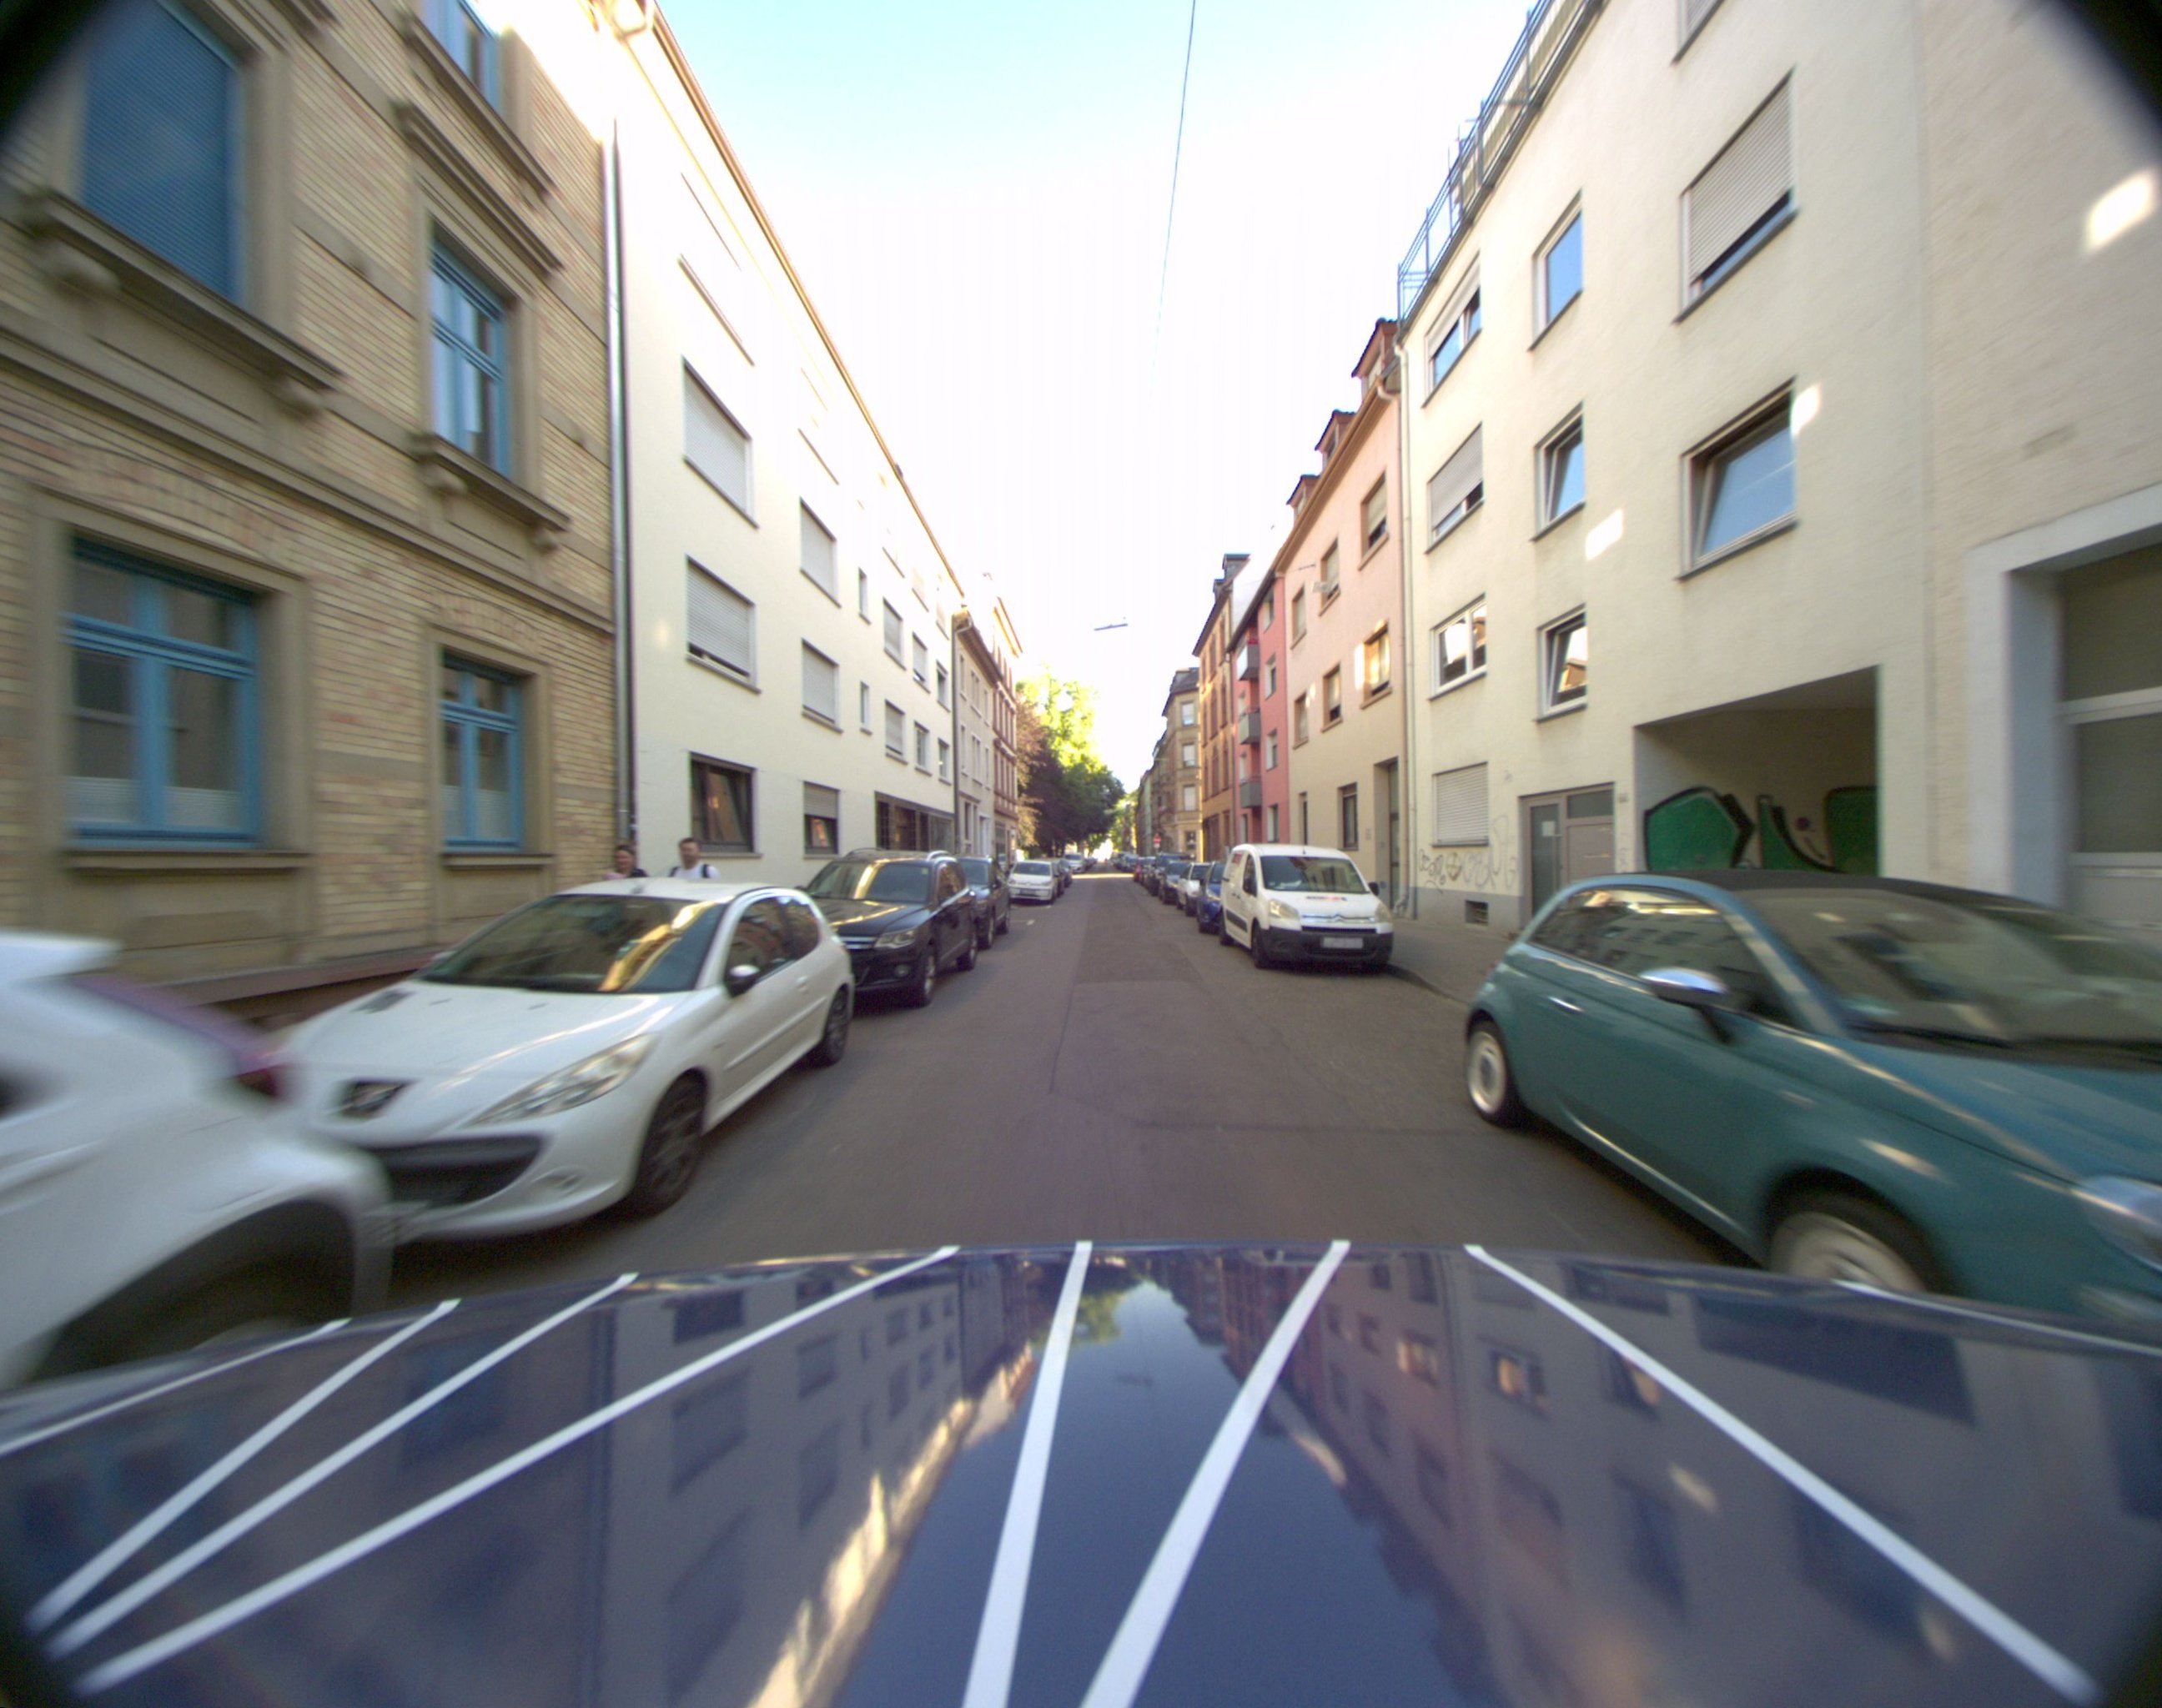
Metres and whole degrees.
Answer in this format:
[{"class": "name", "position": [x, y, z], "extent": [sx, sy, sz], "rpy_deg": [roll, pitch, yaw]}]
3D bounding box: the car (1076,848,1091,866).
[{"class": "car", "position": [0.326, 0.343, 93.829], "extent": [1.768, 2.006, 4.264], "rpy_deg": [2, 1, 2]}]

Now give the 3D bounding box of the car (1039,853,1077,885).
[{"class": "car", "position": [-1.208, 0.772, 41.279], "extent": [1.768, 1.524, 4.103], "rpy_deg": [2, 1, 2]}]

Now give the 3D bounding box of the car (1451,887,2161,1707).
[{"class": "car", "position": [2.960, 0.968, 2.904], "extent": [1.596, 1.442, 3.486], "rpy_deg": [2, 1, 5]}]

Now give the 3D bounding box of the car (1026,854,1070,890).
[{"class": "car", "position": [-1.501, 0.799, 36.134], "extent": [1.768, 1.524, 4.103], "rpy_deg": [1, 1, 2]}]

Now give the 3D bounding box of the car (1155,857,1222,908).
[{"class": "car", "position": [3.523, 0.890, 25.572], "extent": [1.768, 1.464, 3.816], "rpy_deg": [2, 1, 2]}]

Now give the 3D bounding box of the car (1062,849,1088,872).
[{"class": "car", "position": [-0.477, 0.540, 68.584], "extent": [1.865, 1.970, 4.482], "rpy_deg": [2, 1, 5]}]

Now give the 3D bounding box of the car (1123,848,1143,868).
[{"class": "car", "position": [5.070, 0.398, 75.024], "extent": [1.768, 1.846, 3.993], "rpy_deg": [2, 1, 2]}]

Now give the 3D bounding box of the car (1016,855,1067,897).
[{"class": "car", "position": [-1.569, 0.858, 31.669], "extent": [1.768, 1.524, 4.103], "rpy_deg": [1, 1, 2]}]

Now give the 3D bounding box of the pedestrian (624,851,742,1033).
[{"class": "pedestrian", "position": [-3.948, 0.840, 7.599], "extent": [0.712, 1.699, 0.752], "rpy_deg": [3, 1, 1]}]

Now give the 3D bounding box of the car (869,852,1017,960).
[{"class": "car", "position": [-2.427, 0.838, 14.523], "extent": [1.885, 1.657, 4.328], "rpy_deg": [2, 1, 2]}]

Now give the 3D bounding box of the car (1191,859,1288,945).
[{"class": "car", "position": [3.296, 0.923, 16.463], "extent": [1.674, 1.519, 4.087], "rpy_deg": [2, 1, 7]}]

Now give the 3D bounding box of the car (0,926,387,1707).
[{"class": "car", "position": [-2.753, 0.996, 0.216], "extent": [1.597, 1.576, 3.764], "rpy_deg": [1, 0, 2]}]

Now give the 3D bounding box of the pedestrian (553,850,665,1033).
[{"class": "pedestrian", "position": [-4.636, 0.822, 7.504], "extent": [0.599, 1.699, 0.706], "rpy_deg": [3, 1, 1]}]

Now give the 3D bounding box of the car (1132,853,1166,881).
[{"class": "car", "position": [4.068, 0.751, 46.131], "extent": [1.768, 1.524, 4.103], "rpy_deg": [2, 1, 2]}]

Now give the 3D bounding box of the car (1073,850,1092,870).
[{"class": "car", "position": [0.208, 0.547, 75.168], "extent": [1.768, 1.846, 4.285], "rpy_deg": [0, 0, 2]}]

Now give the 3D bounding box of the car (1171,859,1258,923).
[{"class": "car", "position": [3.526, 0.929, 20.783], "extent": [1.675, 1.450, 4.084], "rpy_deg": [2, 1, 1]}]

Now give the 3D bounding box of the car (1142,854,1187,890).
[{"class": "car", "position": [3.871, 0.795, 35.872], "extent": [1.768, 1.524, 4.103], "rpy_deg": [1, 1, 2]}]

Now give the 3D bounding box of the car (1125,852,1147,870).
[{"class": "car", "position": [5.019, 0.635, 69.648], "extent": [1.768, 1.463, 3.932], "rpy_deg": [2, 1, 2]}]

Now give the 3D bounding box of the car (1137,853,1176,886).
[{"class": "car", "position": [3.960, 0.776, 40.393], "extent": [1.768, 1.524, 4.103], "rpy_deg": [2, 1, 2]}]

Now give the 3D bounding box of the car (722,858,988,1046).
[{"class": "car", "position": [-2.410, 0.936, 9.356], "extent": [1.770, 1.657, 4.328], "rpy_deg": [2, 1, 3]}]

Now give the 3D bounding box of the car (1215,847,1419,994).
[{"class": "car", "position": [3.266, 0.788, 11.449], "extent": [1.754, 1.731, 4.315], "rpy_deg": [2, 1, 1]}]

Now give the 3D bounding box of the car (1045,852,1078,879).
[{"class": "car", "position": [-1.145, 0.675, 46.724], "extent": [1.768, 1.524, 4.103], "rpy_deg": [2, 1, 2]}]

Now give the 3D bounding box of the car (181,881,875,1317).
[{"class": "car", "position": [-2.650, 1.017, 4.901], "extent": [1.597, 1.442, 4.002], "rpy_deg": [2, 1, -1]}]

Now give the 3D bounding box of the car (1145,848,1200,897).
[{"class": "car", "position": [3.644, 0.679, 30.919], "extent": [1.768, 1.814, 4.103], "rpy_deg": [2, 1, 2]}]

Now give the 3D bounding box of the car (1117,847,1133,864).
[{"class": "car", "position": [5.500, 0.145, 95.796], "extent": [1.768, 2.075, 4.264], "rpy_deg": [2, 1, 2]}]

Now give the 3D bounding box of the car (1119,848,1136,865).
[{"class": "car", "position": [5.403, 0.284, 89.093], "extent": [1.768, 1.915, 4.264], "rpy_deg": [2, 1, 2]}]

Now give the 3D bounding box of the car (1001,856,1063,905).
[{"class": "car", "position": [-1.680, 0.883, 27.282], "extent": [1.768, 1.508, 4.103], "rpy_deg": [2, 1, 2]}]
